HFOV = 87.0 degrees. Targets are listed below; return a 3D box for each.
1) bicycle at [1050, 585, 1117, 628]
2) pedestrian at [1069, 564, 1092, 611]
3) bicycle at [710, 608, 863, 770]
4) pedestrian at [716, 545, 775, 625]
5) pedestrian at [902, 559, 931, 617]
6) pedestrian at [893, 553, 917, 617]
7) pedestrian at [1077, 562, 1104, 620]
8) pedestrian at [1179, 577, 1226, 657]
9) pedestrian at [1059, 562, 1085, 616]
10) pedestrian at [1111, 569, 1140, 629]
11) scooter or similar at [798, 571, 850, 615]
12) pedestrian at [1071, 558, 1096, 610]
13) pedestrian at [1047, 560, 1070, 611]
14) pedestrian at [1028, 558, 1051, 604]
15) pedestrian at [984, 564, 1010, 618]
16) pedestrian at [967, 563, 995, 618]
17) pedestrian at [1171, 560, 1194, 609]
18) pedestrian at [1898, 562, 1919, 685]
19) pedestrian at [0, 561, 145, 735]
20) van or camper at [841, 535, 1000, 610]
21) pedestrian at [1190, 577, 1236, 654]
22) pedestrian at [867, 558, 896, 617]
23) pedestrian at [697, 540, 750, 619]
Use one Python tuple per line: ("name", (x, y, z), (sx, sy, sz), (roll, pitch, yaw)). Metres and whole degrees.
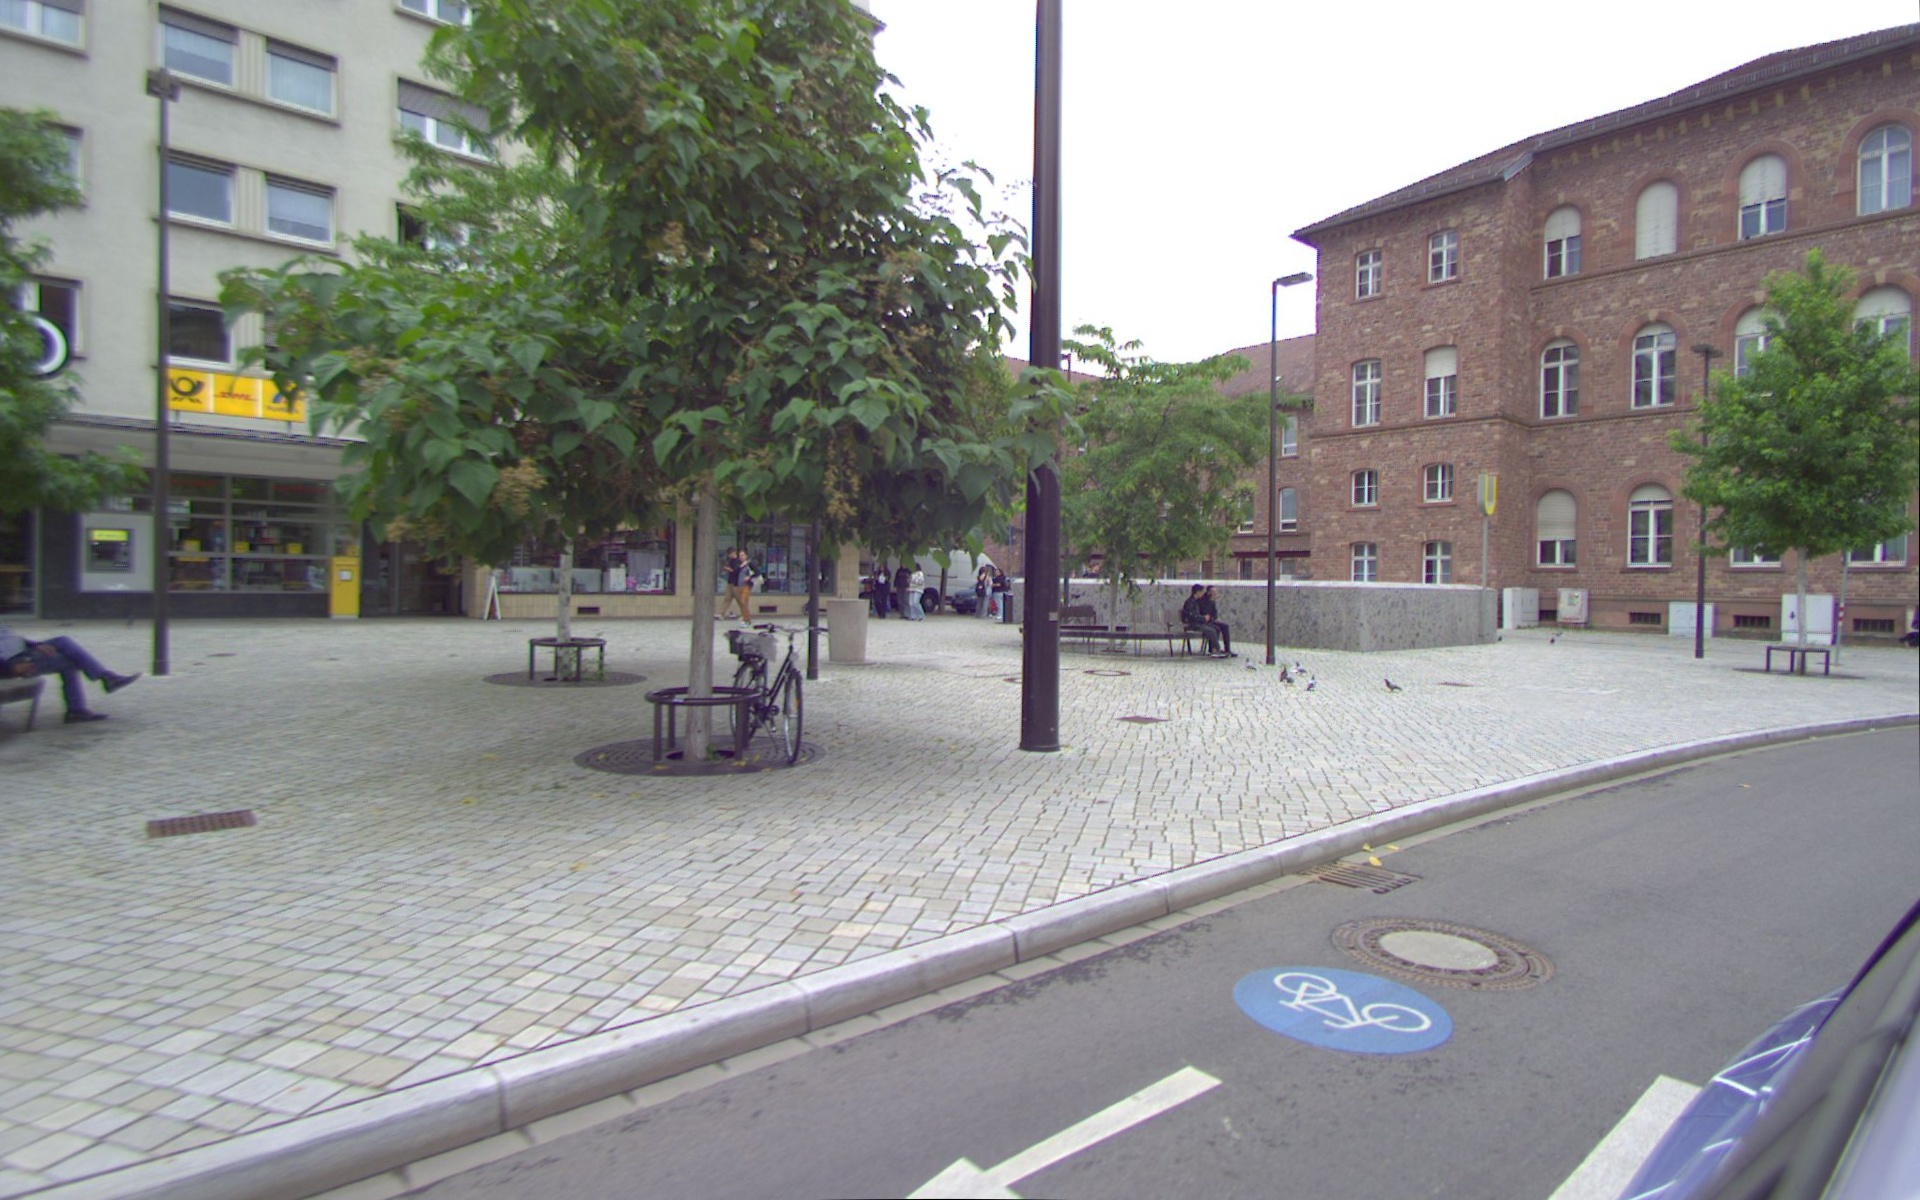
("bicycle", (3.405, 0.152, 28.129), (0.462, 1.077, 2.028), (0, 3, -41))
("pedestrian", (4.569, -0.474, 38.368), (0.661, 1.780, 0.622), (0, 0, 40))
("bicycle", (-1.475, 0.650, 8.290), (0.632, 1.137, 1.922), (0, 0, -29))
("pedestrian", (-4.952, -0.356, 23.345), (0.769, 1.794, 1.052), (3, 2, 38))
("pedestrian", (-1.211, -0.333, 28.424), (0.583, 1.606, 0.640), (2, 0, 17))
("pedestrian", (-1.586, -0.421, 29.067), (0.630, 1.790, 0.592), (2, 0, -5))
("pedestrian", (3.845, -0.262, 29.824), (0.579, 1.692, 0.515), (2, 0, -17))
("pedestrian", (4.750, 0.312, 19.793), (0.770, 1.473, 0.764), (3, 2, 20))
("pedestrian", (3.519, -0.347, 31.824), (0.579, 1.692, 0.515), (2, 0, -20))
("pedestrian", (4.723, -0.026, 28.882), (0.579, 1.692, 0.515), (2, 0, -20))
("scooter or similar", (-3.910, -0.214, 29.130), (1.406, 1.218, 0.503), (1, 2, -16))
("pedestrian", (4.116, -0.542, 33.765), (0.579, 1.692, 0.515), (2, 0, -19))
("pedestrian", (3.745, -0.541, 38.501), (0.525, 1.914, 0.662), (0, -1, -44))
("pedestrian", (2.962, -0.698, 37.618), (0.661, 1.699, 0.526), (0, 0, 40))
("pedestrian", (1.197, -0.289, 32.587), (0.579, 1.692, 0.645), (2, 0, -20))
("pedestrian", (0.658, -0.301, 31.716), (0.579, 1.692, 0.644), (2, 0, -25))
("pedestrian", (7.872, -0.554, 35.801), (0.579, 1.692, 0.515), (2, 0, -19))
("pedestrian", (15.449, 0.381, 15.936), (0.759, 1.925, 0.871), (1, 2, -42))
("pedestrian", (-7.685, 0.383, 8.418), (1.385, 1.383, 0.629), (0, 0, -42))
("van or camper", (-1.461, -1.026, 39.873), (6.445, 2.754, 1.997), (0, 0, -41))
("pedestrian", (5.130, 0.299, 20.504), (0.770, 1.473, 0.764), (3, 2, 20))
("pedestrian", (-2.206, -0.354, 28.484), (0.583, 1.606, 0.640), (2, 0, 17))
("pedestrian", (-5.982, -0.525, 25.646), (0.767, 1.925, 1.055), (2, 1, 31))
